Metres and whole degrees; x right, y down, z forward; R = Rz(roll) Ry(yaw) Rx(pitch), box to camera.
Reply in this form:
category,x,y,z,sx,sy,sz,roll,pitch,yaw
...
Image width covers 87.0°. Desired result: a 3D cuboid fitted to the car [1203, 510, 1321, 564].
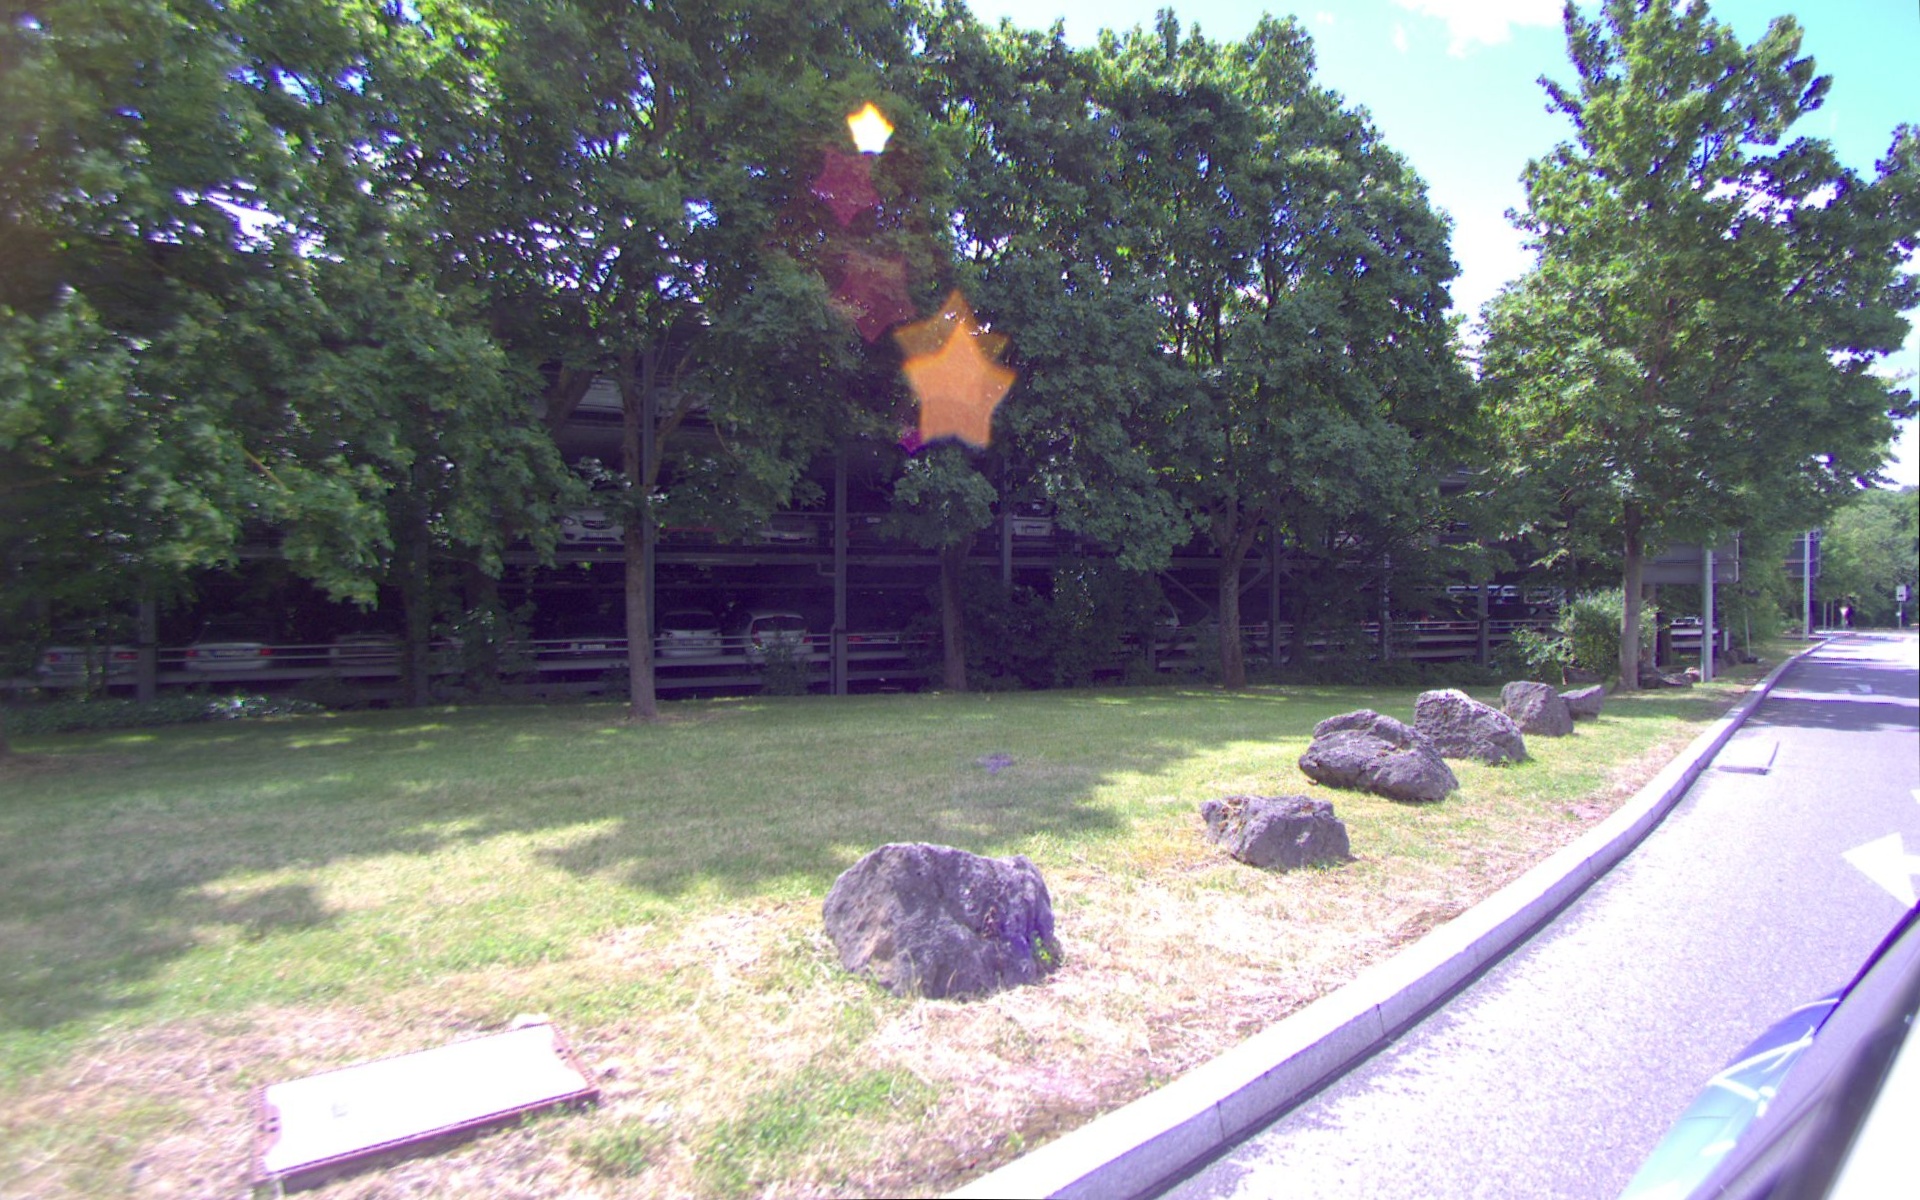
category,x,y,z,sx,sy,sz,roll,pitch,yaw
car,9.601,-1.967,32.448,1.624,1.449,3.711,2,0,-22

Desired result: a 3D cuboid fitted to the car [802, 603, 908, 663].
category,x,y,z,sx,sy,sz,roll,pitch,yaw
car,-2.865,0.823,26.914,1.740,1.410,3.805,0,1,-23

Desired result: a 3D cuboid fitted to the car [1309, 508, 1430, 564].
category,x,y,z,sx,sy,sz,roll,pitch,yaw
car,13.816,-2.108,34.369,1.624,1.640,3.711,2,0,-22

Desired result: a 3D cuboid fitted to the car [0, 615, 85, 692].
category,x,y,z,sx,sy,sz,roll,pitch,yaw
car,-18.948,0.993,19.752,1.740,1.308,3.805,0,1,-23

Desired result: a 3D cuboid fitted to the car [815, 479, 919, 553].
category,x,y,z,sx,sy,sz,roll,pitch,yaw
car,-2.563,-2.173,27.065,1.691,1.640,3.711,2,0,-22

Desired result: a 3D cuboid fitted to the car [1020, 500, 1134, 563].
category,x,y,z,sx,sy,sz,roll,pitch,yaw
car,3.378,-1.947,29.799,1.691,1.561,3.711,2,0,-22

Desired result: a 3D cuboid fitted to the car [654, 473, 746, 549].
category,x,y,z,sx,sy,sz,roll,pitch,yaw
car,-6.654,-2.171,25.629,1.691,1.561,3.711,2,0,-22

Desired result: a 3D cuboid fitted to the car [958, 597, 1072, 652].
category,x,y,z,sx,sy,sz,roll,pitch,yaw
car,1.493,0.654,29.053,1.740,1.410,3.865,0,1,-23

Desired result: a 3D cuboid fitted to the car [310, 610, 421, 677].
category,x,y,z,sx,sy,sz,roll,pitch,yaw
car,-13.575,0.931,23.315,1.740,1.308,3.805,0,1,-23

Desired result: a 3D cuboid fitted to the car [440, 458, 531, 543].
category,x,y,z,sx,sy,sz,roll,pitch,yaw
car,-10.939,-2.229,23.522,1.691,1.561,3.711,2,0,-22

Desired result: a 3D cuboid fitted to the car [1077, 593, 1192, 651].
category,x,y,z,sx,sy,sz,roll,pitch,yaw
car,5.330,0.624,31.375,1.660,1.646,3.865,0,1,-23

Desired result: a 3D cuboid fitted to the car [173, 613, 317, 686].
category,x,y,z,sx,sy,sz,roll,pitch,yaw
car,-15.109,0.987,21.593,1.740,1.308,3.805,0,1,-23

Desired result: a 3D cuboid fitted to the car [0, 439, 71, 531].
category,x,y,z,sx,sy,sz,roll,pitch,yaw
car,-19.024,-2.253,19.502,1.691,1.561,3.711,2,0,-22

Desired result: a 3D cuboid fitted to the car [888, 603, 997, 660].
category,x,y,z,sx,sy,sz,roll,pitch,yaw
car,-0.570,0.818,28.338,1.740,1.410,3.805,0,1,-23

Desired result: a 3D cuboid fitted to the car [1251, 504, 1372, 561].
category,x,y,z,sx,sy,sz,roll,pitch,yaw
car,11.441,-2.162,33.178,1.624,1.582,3.711,2,0,-22

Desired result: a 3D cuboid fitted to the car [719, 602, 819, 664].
category,x,y,z,sx,sy,sz,roll,pitch,yaw
car,-5.013,0.800,26.229,1.740,1.410,3.805,0,1,-23

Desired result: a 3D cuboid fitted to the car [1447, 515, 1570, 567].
category,x,y,z,sx,sy,sz,roll,pitch,yaw
car,20.027,-2.113,37.111,1.624,1.640,3.711,2,0,-22

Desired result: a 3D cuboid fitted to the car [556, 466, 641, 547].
category,x,y,z,sx,sy,sz,roll,pitch,yaw
car,-8.762,-2.169,24.386,1.691,1.561,3.711,2,0,-22

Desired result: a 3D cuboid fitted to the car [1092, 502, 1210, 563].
category,x,y,z,sx,sy,sz,roll,pitch,yaw
car,5.701,-1.968,30.634,1.691,1.561,3.711,2,0,-22

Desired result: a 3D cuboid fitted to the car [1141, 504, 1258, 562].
category,x,y,z,sx,sy,sz,roll,pitch,yaw
car,7.487,-2.059,31.979,1.691,1.561,3.711,2,0,-22

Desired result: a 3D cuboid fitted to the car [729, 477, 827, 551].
category,x,y,z,sx,sy,sz,roll,pitch,yaw
car,-4.788,-2.150,26.201,1.691,1.561,3.711,2,0,-22

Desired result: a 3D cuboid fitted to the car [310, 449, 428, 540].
category,x,y,z,sx,sy,sz,roll,pitch,yaw
car,-12.864,-2.221,22.241,1.691,1.561,3.711,2,0,-22

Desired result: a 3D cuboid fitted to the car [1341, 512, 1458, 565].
category,x,y,z,sx,sy,sz,roll,pitch,yaw
car,15.558,-2.135,35.997,1.624,1.640,3.711,2,0,-22

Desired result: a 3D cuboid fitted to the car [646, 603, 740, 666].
category,x,y,z,sx,sy,sz,roll,pitch,yaw
car,-6.801,0.807,25.534,1.740,1.410,3.805,0,1,-23

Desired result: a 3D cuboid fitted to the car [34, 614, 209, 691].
category,x,y,z,sx,sy,sz,roll,pitch,yaw
car,-16.966,1.001,20.687,1.740,1.308,3.805,0,1,-23

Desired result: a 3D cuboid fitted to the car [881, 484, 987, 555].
category,x,y,z,sx,sy,sz,roll,pitch,yaw
car,-0.794,-2.154,28.107,1.691,1.640,3.711,2,0,-22

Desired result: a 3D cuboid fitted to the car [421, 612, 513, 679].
category,x,y,z,sx,sy,sz,roll,pitch,yaw
car,-11.318,0.980,23.434,1.740,1.308,3.805,0,1,-23

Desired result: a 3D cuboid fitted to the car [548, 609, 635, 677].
category,x,y,z,sx,sy,sz,roll,pitch,yaw
car,-8.921,0.962,24.333,1.740,1.410,3.805,0,1,-23

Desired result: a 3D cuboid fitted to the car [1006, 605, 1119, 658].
category,x,y,z,sx,sy,sz,roll,pitch,yaw
car,2.964,0.881,29.958,1.660,1.410,3.865,0,1,-23

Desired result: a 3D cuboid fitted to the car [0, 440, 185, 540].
category,x,y,z,sx,sy,sz,roll,pitch,yaw
car,-17.245,-2.107,20.327,1.691,1.561,3.711,2,0,-22

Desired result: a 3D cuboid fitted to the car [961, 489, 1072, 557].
category,x,y,z,sx,sy,sz,roll,pitch,yaw
car,1.542,-2.134,28.965,1.691,1.640,3.711,2,0,-22
